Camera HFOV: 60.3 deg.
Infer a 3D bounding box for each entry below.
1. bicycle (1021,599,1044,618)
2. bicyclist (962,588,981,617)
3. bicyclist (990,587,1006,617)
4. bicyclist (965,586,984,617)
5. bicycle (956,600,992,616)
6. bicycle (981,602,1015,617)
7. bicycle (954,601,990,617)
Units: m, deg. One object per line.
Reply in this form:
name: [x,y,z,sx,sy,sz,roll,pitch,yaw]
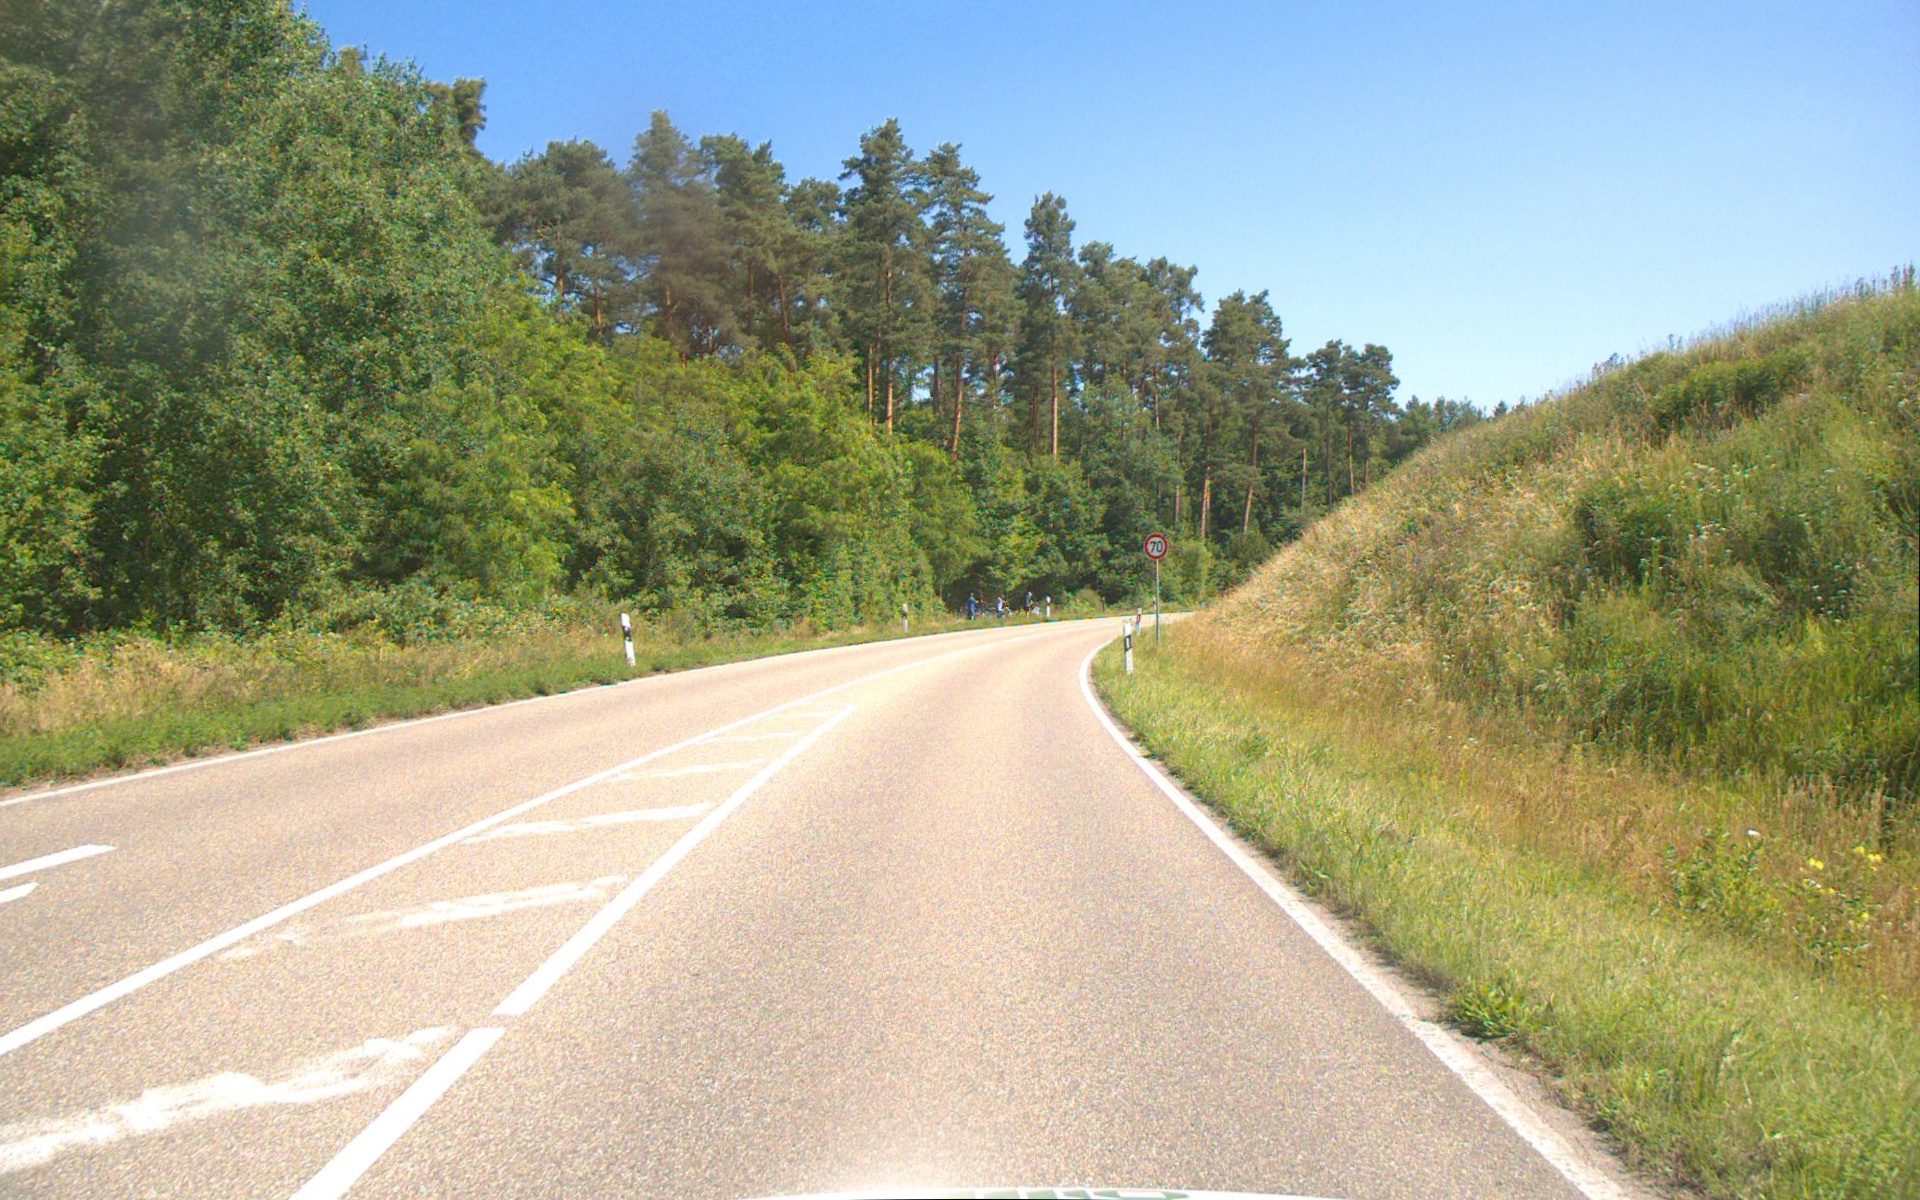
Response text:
bicycle: [4.444,0.537,101.320,1.436,1.105,0.573,-2,2,-43]
bicyclist: [0.657,0.146,92.324,0.859,1.572,0.600,1,-1,-28]
bicyclist: [2.222,0.128,97.106,0.775,1.749,0.602,1,-1,-21]
bicyclist: [0.811,0.065,93.115,0.838,1.730,0.600,1,-1,-28]
bicycle: [0.788,0.442,93.101,1.956,0.844,0.600,1,-1,-28]
bicycle: [2.236,0.539,97.117,1.950,0.844,0.602,1,0,-21]
bicycle: [0.651,0.517,92.312,1.956,0.844,0.600,1,-1,-28]
